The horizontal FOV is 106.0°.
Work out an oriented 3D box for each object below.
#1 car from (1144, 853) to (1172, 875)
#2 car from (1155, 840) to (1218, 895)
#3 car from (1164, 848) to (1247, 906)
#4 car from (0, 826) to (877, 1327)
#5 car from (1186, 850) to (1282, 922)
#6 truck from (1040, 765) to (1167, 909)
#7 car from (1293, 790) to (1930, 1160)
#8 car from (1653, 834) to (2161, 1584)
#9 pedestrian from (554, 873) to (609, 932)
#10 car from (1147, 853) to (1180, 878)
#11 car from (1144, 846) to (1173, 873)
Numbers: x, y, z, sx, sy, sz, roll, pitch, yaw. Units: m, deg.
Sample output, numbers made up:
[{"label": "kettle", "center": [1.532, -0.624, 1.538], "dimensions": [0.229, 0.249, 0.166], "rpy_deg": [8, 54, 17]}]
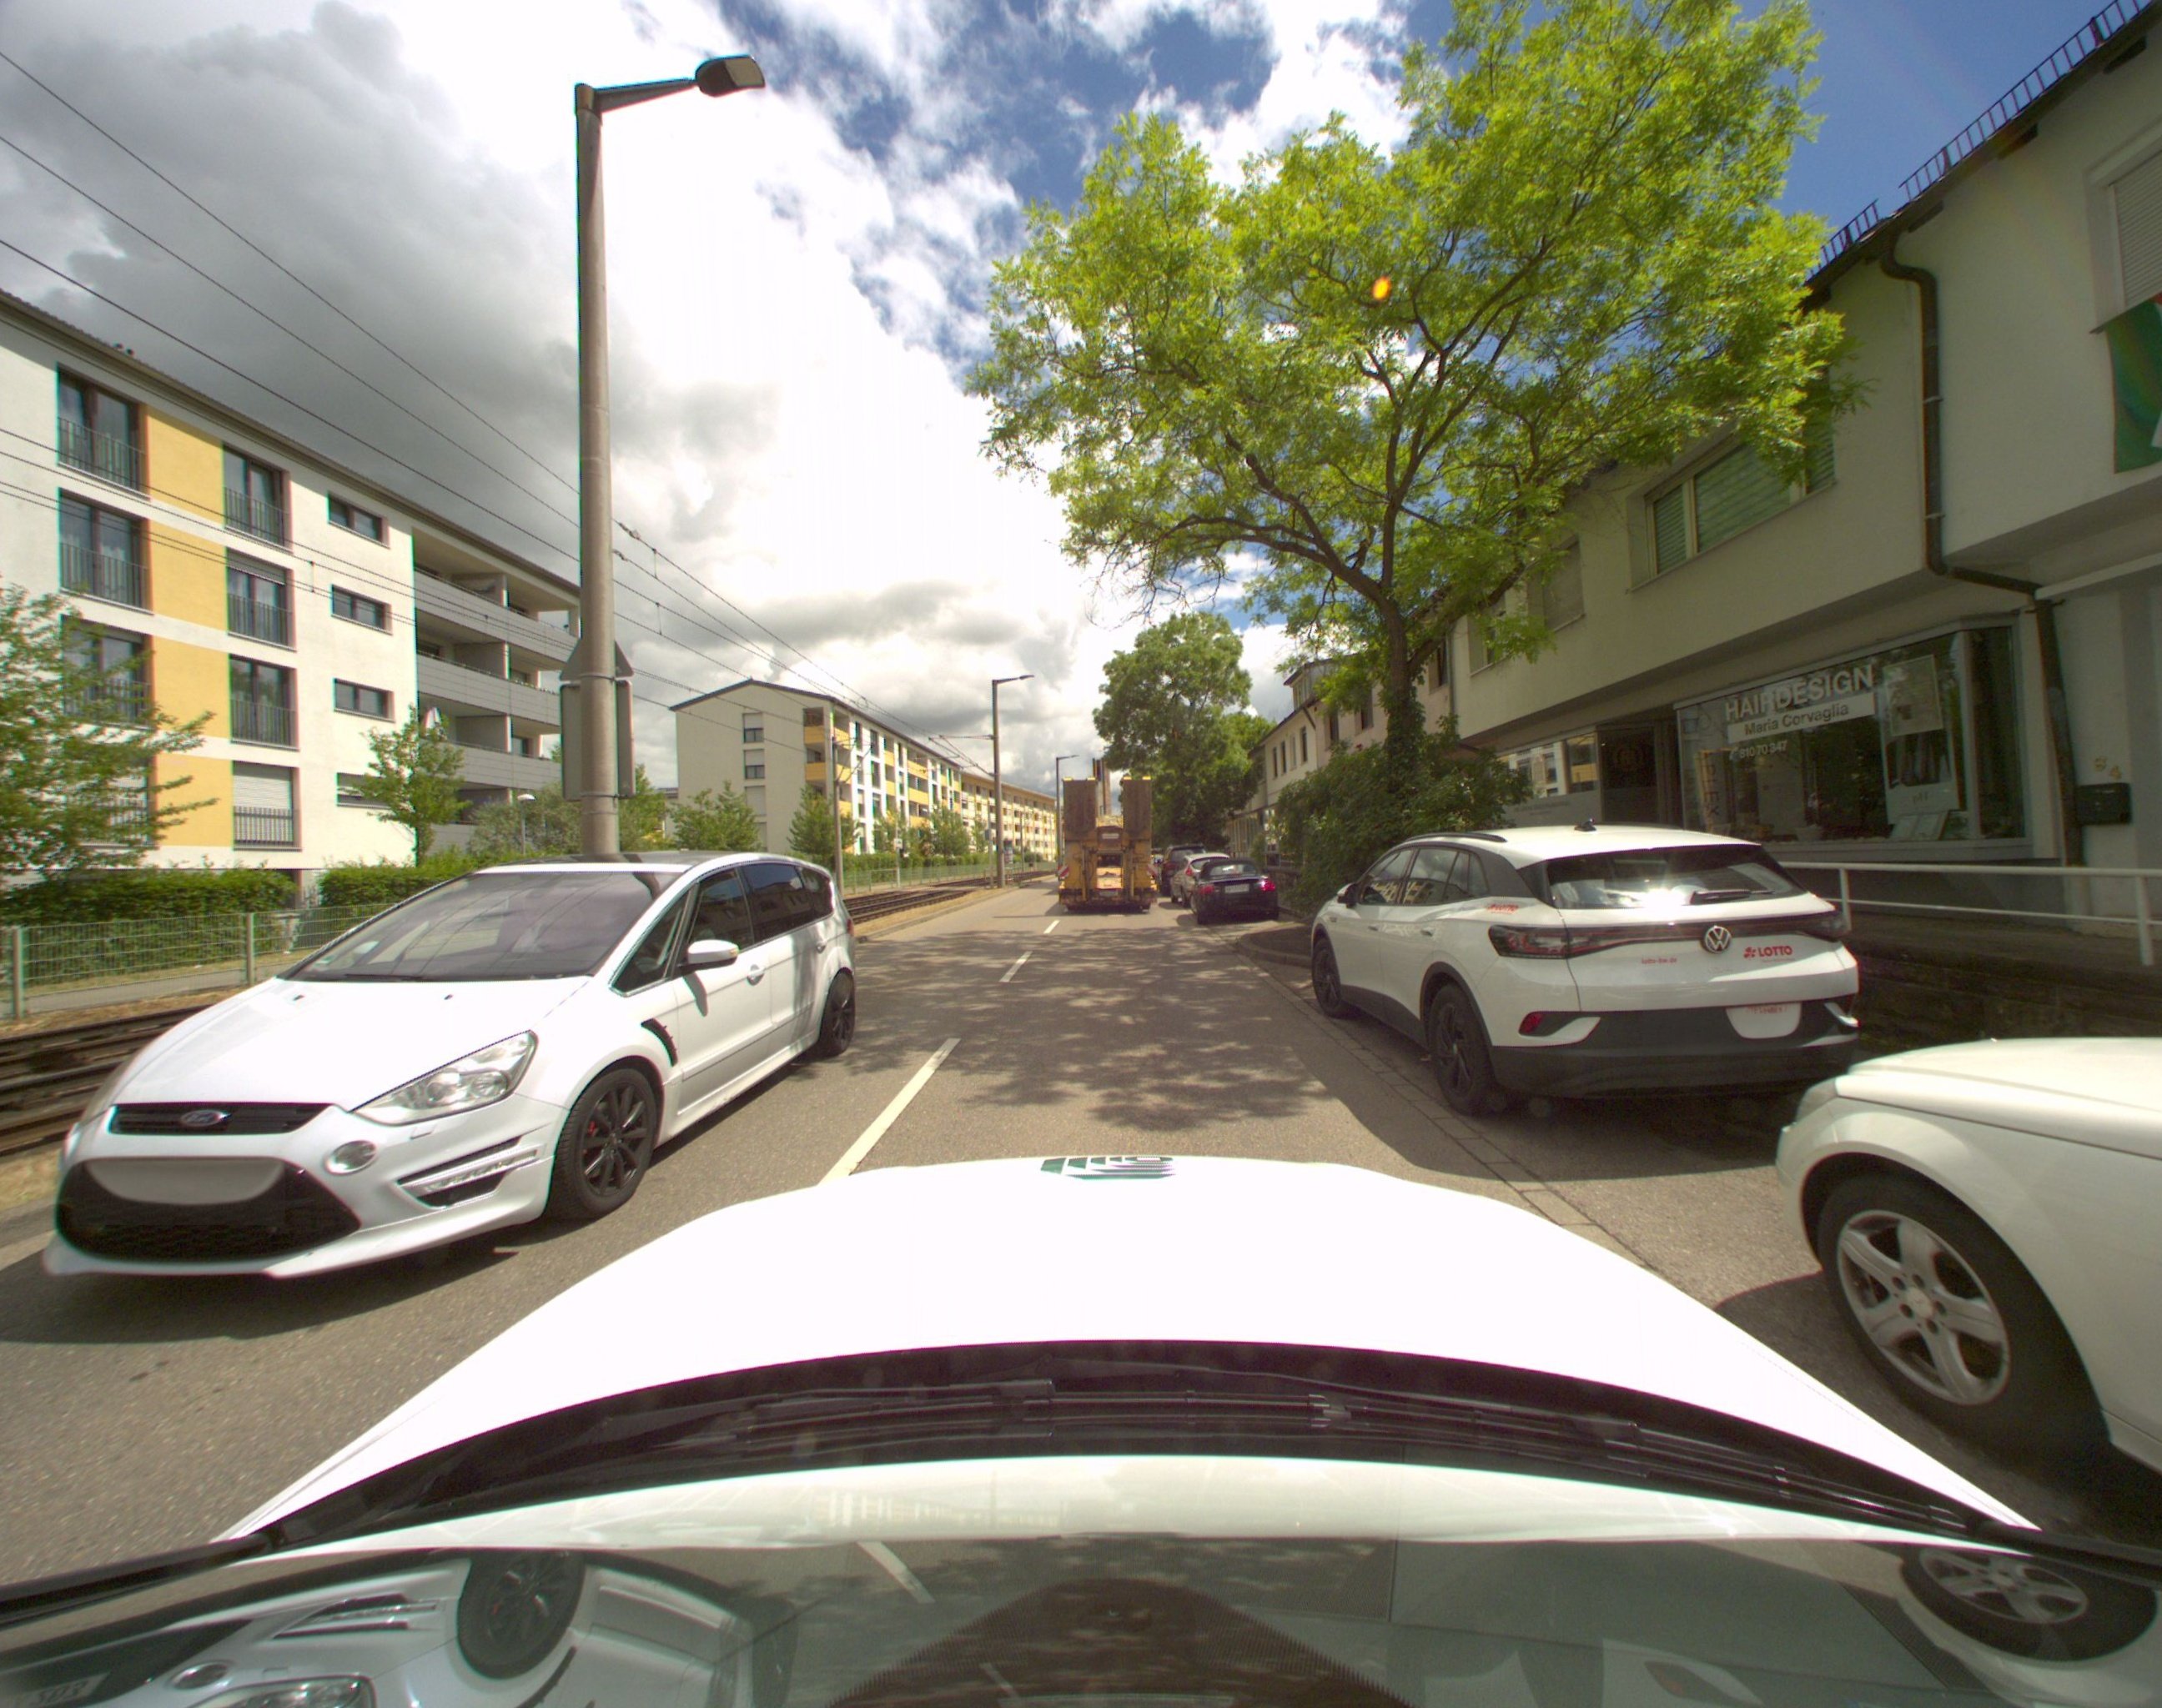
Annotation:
[{"label": "car", "center": [5.477, 0.708, 58.360], "dimensions": [1.747, 1.442, 4.345], "rpy_deg": [-3, 0, 3]}, {"label": "car", "center": [3.874, 0.470, 30.685], "dimensions": [2.006, 1.788, 5.081], "rpy_deg": [-3, 0, 4]}, {"label": "car", "center": [3.562, 0.634, 23.968], "dimensions": [1.765, 1.442, 3.899], "rpy_deg": [-4, 0, 0]}, {"label": "car", "center": [-2.813, 0.734, 4.955], "dimensions": [1.810, 1.614, 4.604], "rpy_deg": [-1, 0, 2]}, {"label": "car", "center": [3.400, 0.665, 18.733], "dimensions": [1.762, 1.349, 4.007], "rpy_deg": [-5, 0, 6]}, {"label": "truck", "center": [0.800, -0.413, 26.832], "dimensions": [3.112, 3.564, 12.465], "rpy_deg": [-2, 0, 2]}, {"label": "car", "center": [3.004, 0.559, 5.951], "dimensions": [1.831, 1.643, 4.431], "rpy_deg": [-2, 0, 2]}, {"label": "car", "center": [2.887, 0.669, 0.750], "dimensions": [1.718, 1.426, 4.449], "rpy_deg": [-2, 0, 3]}, {"label": "pedestrian", "center": [-13.303, 1.268, 21.703], "dimensions": [0.793, 1.483, 0.996], "rpy_deg": [-2, 0, 1]}, {"label": "car", "center": [5.161, 0.697, 51.381], "dimensions": [1.748, 1.442, 4.495], "rpy_deg": [-3, 0, 2]}, {"label": "car", "center": [6.112, 0.425, 64.696], "dimensions": [1.906, 1.958, 5.749], "rpy_deg": [-3, 0, 3]}]
